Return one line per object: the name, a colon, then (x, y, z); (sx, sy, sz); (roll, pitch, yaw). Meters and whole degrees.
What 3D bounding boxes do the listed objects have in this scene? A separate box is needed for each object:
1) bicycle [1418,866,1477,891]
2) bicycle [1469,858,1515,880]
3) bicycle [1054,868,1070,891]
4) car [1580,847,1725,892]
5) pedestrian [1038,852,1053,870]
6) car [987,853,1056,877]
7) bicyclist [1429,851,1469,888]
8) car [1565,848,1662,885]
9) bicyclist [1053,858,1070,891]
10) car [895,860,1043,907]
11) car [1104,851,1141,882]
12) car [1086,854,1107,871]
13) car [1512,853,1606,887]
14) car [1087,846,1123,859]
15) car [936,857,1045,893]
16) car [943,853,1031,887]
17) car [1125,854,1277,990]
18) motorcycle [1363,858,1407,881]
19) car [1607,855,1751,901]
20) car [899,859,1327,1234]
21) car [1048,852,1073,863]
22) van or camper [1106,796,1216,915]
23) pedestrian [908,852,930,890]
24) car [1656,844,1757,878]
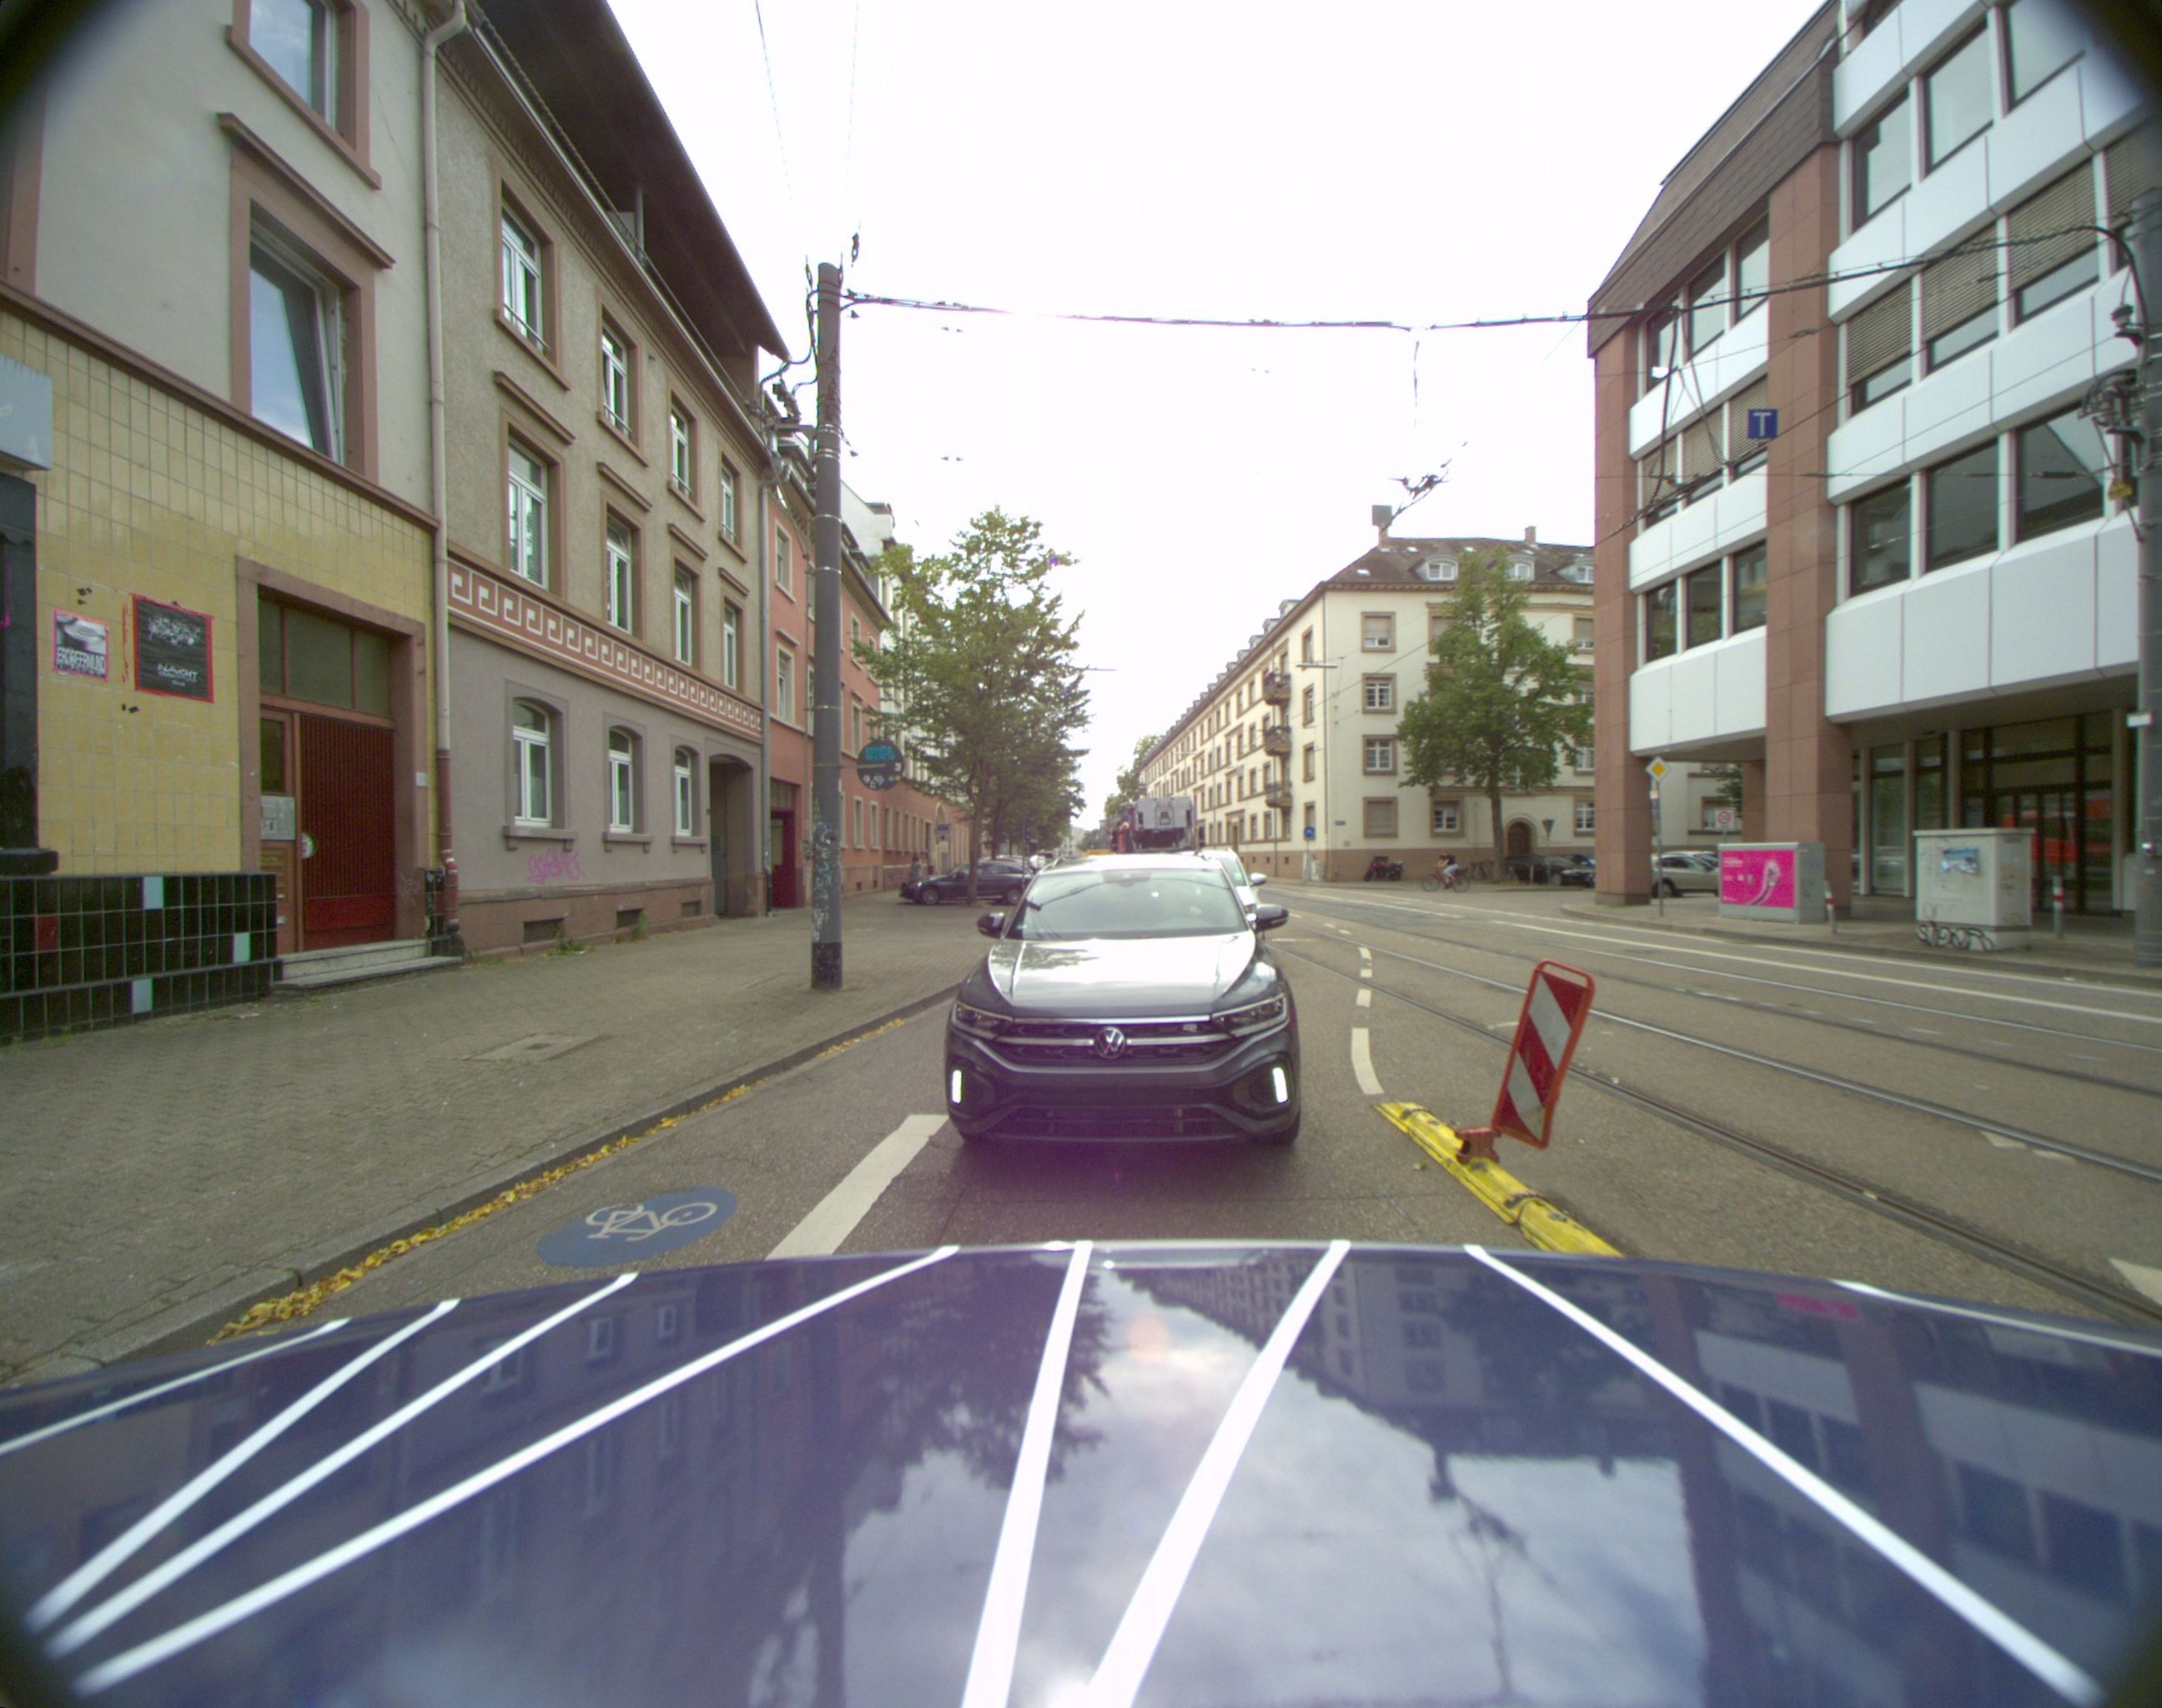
bicycle: (14.499, 0.982, 30.113); (2.010, 0.959, 0.673); (-1, -1, 6)
bicycle: (20.815, 0.768, 38.495); (1.924, 1.080, 0.793); (-1, 0, -1)
bicycle: (-0.871, 1.171, 35.116); (0.714, 1.012, 1.800); (-2, 0, -1)
car: (21.783, 0.577, 29.121); (4.043, 1.528, 1.776); (-2, 0, 9)
pedestrian: (-3.487, 0.687, 74.582); (1.003, 1.831, 1.016); (-1, 1, -40)
car: (-4.317, 0.812, 55.505); (4.635, 1.688, 1.913); (1, 0, -24)
bicyclist: (14.579, 0.601, 30.102); (1.258, 1.453, 0.678); (-1, 0, 6)
car: (23.570, 0.532, 33.802); (1.611, 1.538, 3.715); (-1, 0, -3)
bicyclist: (-0.878, 0.927, 35.093); (0.715, 1.498, 0.918); (-2, 0, -1)
car: (-3.778, 0.969, 25.712); (4.635, 1.464, 1.786); (1, 0, -24)
car: (2.386, 0.686, 44.591); (1.998, 1.698, 4.053); (-1, 0, 1)
car: (1.449, 0.769, 71.317); (1.911, 1.478, 4.000); (-1, 0, 1)
car: (21.170, 0.667, 33.839); (1.611, 1.388, 3.874); (-1, 0, -3)
car: (4.254, -0.273, 133.949); (5.912, 2.142, 2.554); (-1, 0, 29)
car: (-3.891, 0.907, 32.786); (4.351, 1.471, 1.786); (1, 0, -24)
car: (-4.935, 0.850, 39.922); (4.245, 1.688, 1.736); (1, 0, -24)
car: (1.626, 0.835, 11.318); (1.773, 1.582, 4.283); (-2, 0, 5)
motorcycle: (15.305, 0.778, 38.278); (1.924, 1.080, 0.793); (-1, 0, -1)
car: (19.193, 0.749, 24.464); (3.650, 1.380, 1.611); (-1, 0, -9)
car: (0.290, 0.855, 5.384); (1.773, 1.538, 4.283); (-2, 0, 5)
car: (-3.694, 0.622, 136.769); (4.007, 1.806, 1.896); (-1, 0, -33)
van or camper: (2.480, 0.033, 26.793); (2.607, 3.401, 9.651); (-1, 0, -1)
pedestrian: (-7.449, 0.790, 34.891); (0.732, 1.678, 0.926); (3, 0, -1)
car: (28.496, 0.309, 34.748); (1.592, 1.453, 3.524); (-1, 0, -3)
